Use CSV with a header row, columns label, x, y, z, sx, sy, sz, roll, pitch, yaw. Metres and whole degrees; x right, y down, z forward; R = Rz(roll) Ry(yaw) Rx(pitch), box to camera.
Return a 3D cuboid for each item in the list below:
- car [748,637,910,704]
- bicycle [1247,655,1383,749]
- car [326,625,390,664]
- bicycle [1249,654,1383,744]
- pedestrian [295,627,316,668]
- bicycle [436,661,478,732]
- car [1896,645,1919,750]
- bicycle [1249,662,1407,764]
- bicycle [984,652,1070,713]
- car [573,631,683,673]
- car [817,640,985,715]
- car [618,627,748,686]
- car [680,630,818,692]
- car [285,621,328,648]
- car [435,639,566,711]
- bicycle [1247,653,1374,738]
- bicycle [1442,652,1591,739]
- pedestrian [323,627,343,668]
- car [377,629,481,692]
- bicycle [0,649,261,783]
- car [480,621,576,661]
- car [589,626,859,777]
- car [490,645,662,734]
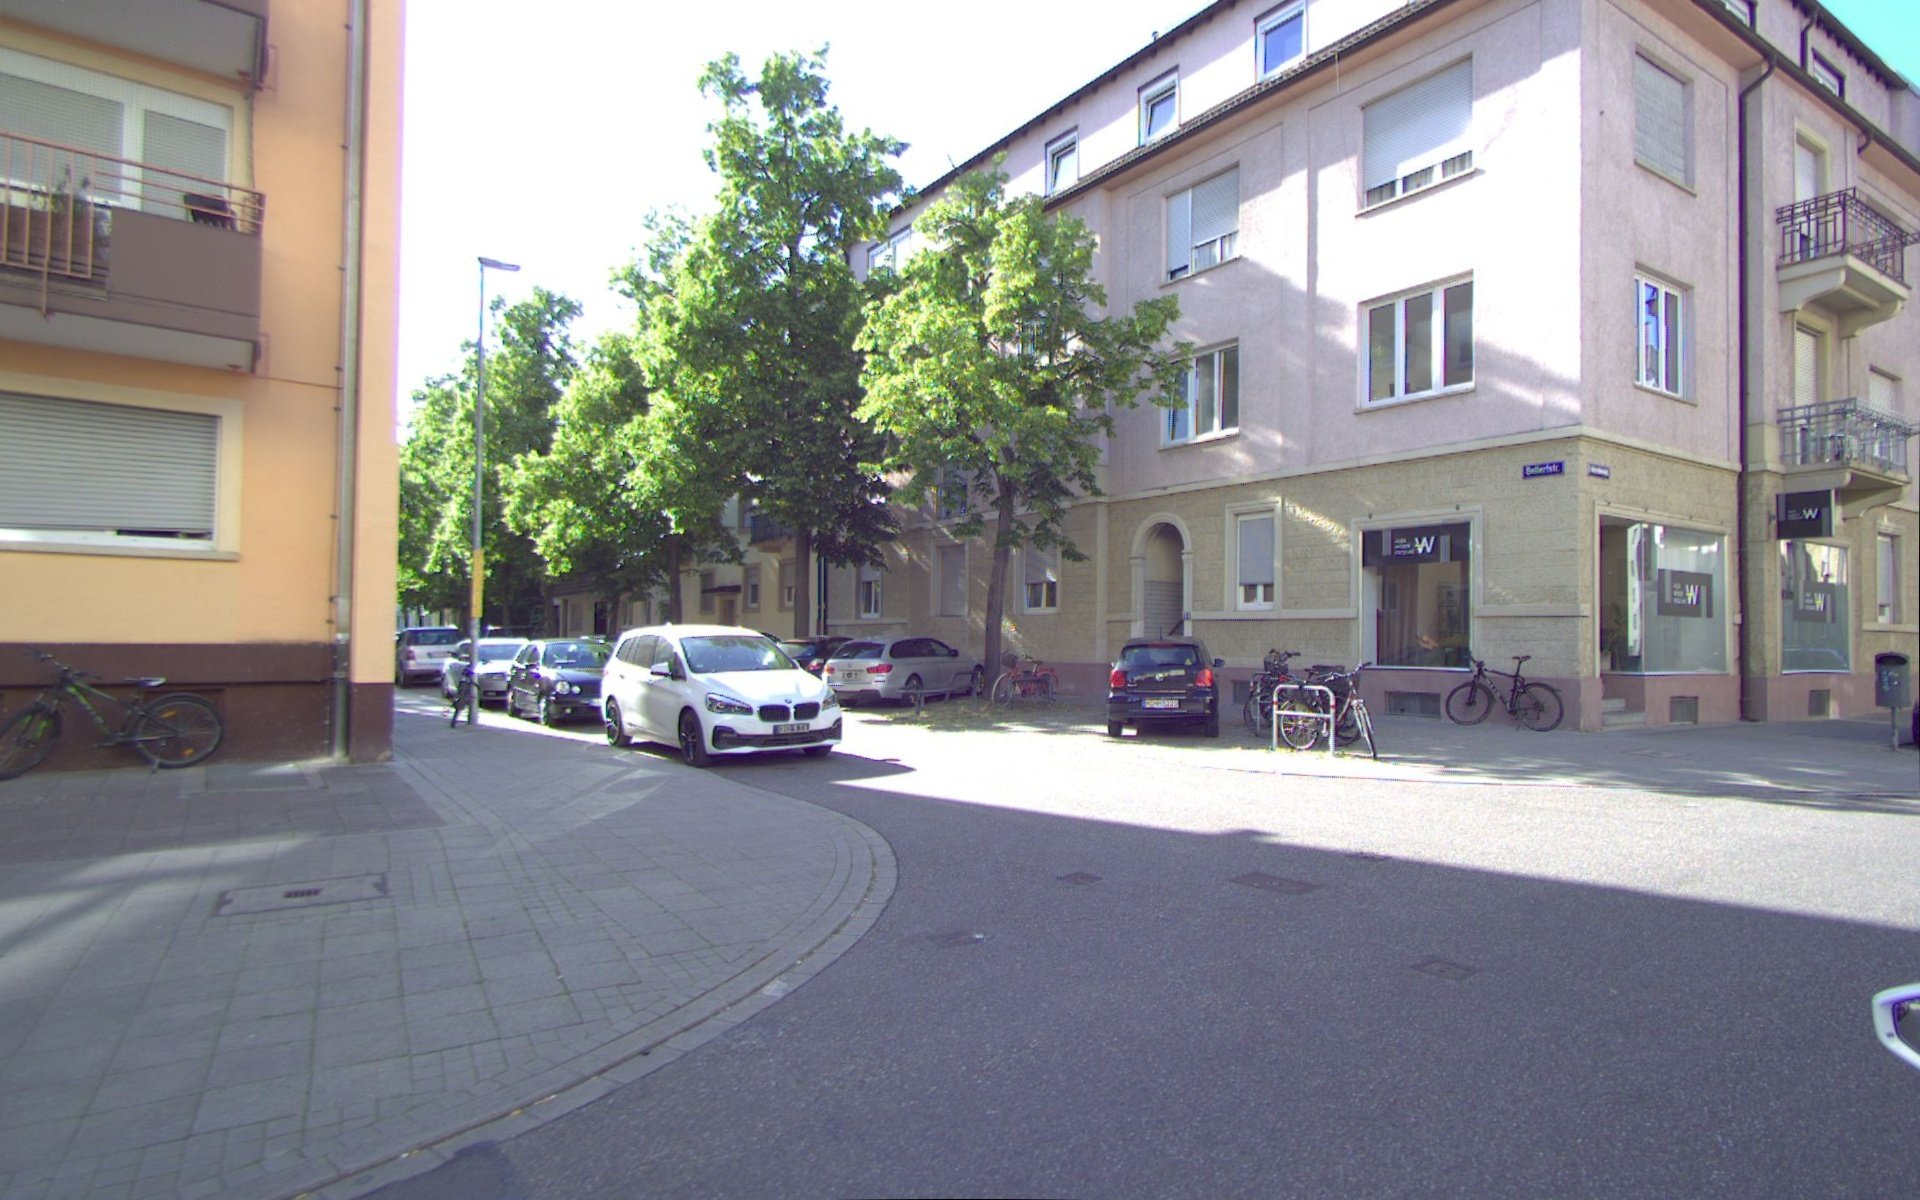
label,x,y,z,sx,sy,sz,roll,pitch,yaw
car,-3.042,1.634,24.137,1.674,1.445,4.208,-1,-2,29
bicycle,4.847,1.361,13.844,0.520,1.150,1.889,0,-1,-30
car,-28.663,2.079,47.764,2.090,1.789,4.461,2,-2,-38
bicycle,5.079,1.383,14.456,0.520,1.150,1.887,0,-1,-33
pedestrian,-26.846,1.933,41.171,0.655,1.662,0.521,2,-2,-37
bicycle,-7.570,1.429,15.089,0.395,0.978,1.682,5,-5,-29
car,15.505,1.465,14.558,4.224,1.445,1.671,3,-1,-30
bicycle,4.621,1.384,12.759,0.640,1.150,1.890,0,-2,-30
bicycle,1.346,1.615,19.898,1.877,1.078,0.499,0,1,-40
car,-12.424,1.910,37.771,1.680,1.482,3.591,0,-1,41
car,-1.174,1.614,21.956,1.674,1.457,4.208,-1,-3,29
car,-8.597,1.717,31.375,1.680,1.690,3.591,0,-1,41
car,-5.973,1.683,28.748,1.680,1.630,3.591,0,-1,41
car,-44.728,2.347,68.745,2.090,1.789,4.461,2,-2,-38
car,-10.264,1.582,22.283,1.712,1.423,4.166,2,-2,-38
bicycle,5.287,1.409,15.254,0.520,1.150,1.887,0,-1,-33
bicycle,8.387,1.401,15.203,0.642,1.150,1.884,0,0,-38
pedestrian,-26.144,1.973,41.879,0.655,1.662,0.521,2,-2,-37
car,-16.572,1.810,31.258,2.090,1.789,4.461,2,-2,-38
bicycle,-7.383,0.988,8.949,1.875,1.078,0.500,2,0,-36
car,-19.338,1.811,45.044,1.680,1.690,3.591,0,-1,41
car,-3.210,1.152,12.979,1.712,1.613,4.400,2,-2,-38
car,-6.928,1.492,17.875,1.712,1.327,4.166,2,-2,-38
